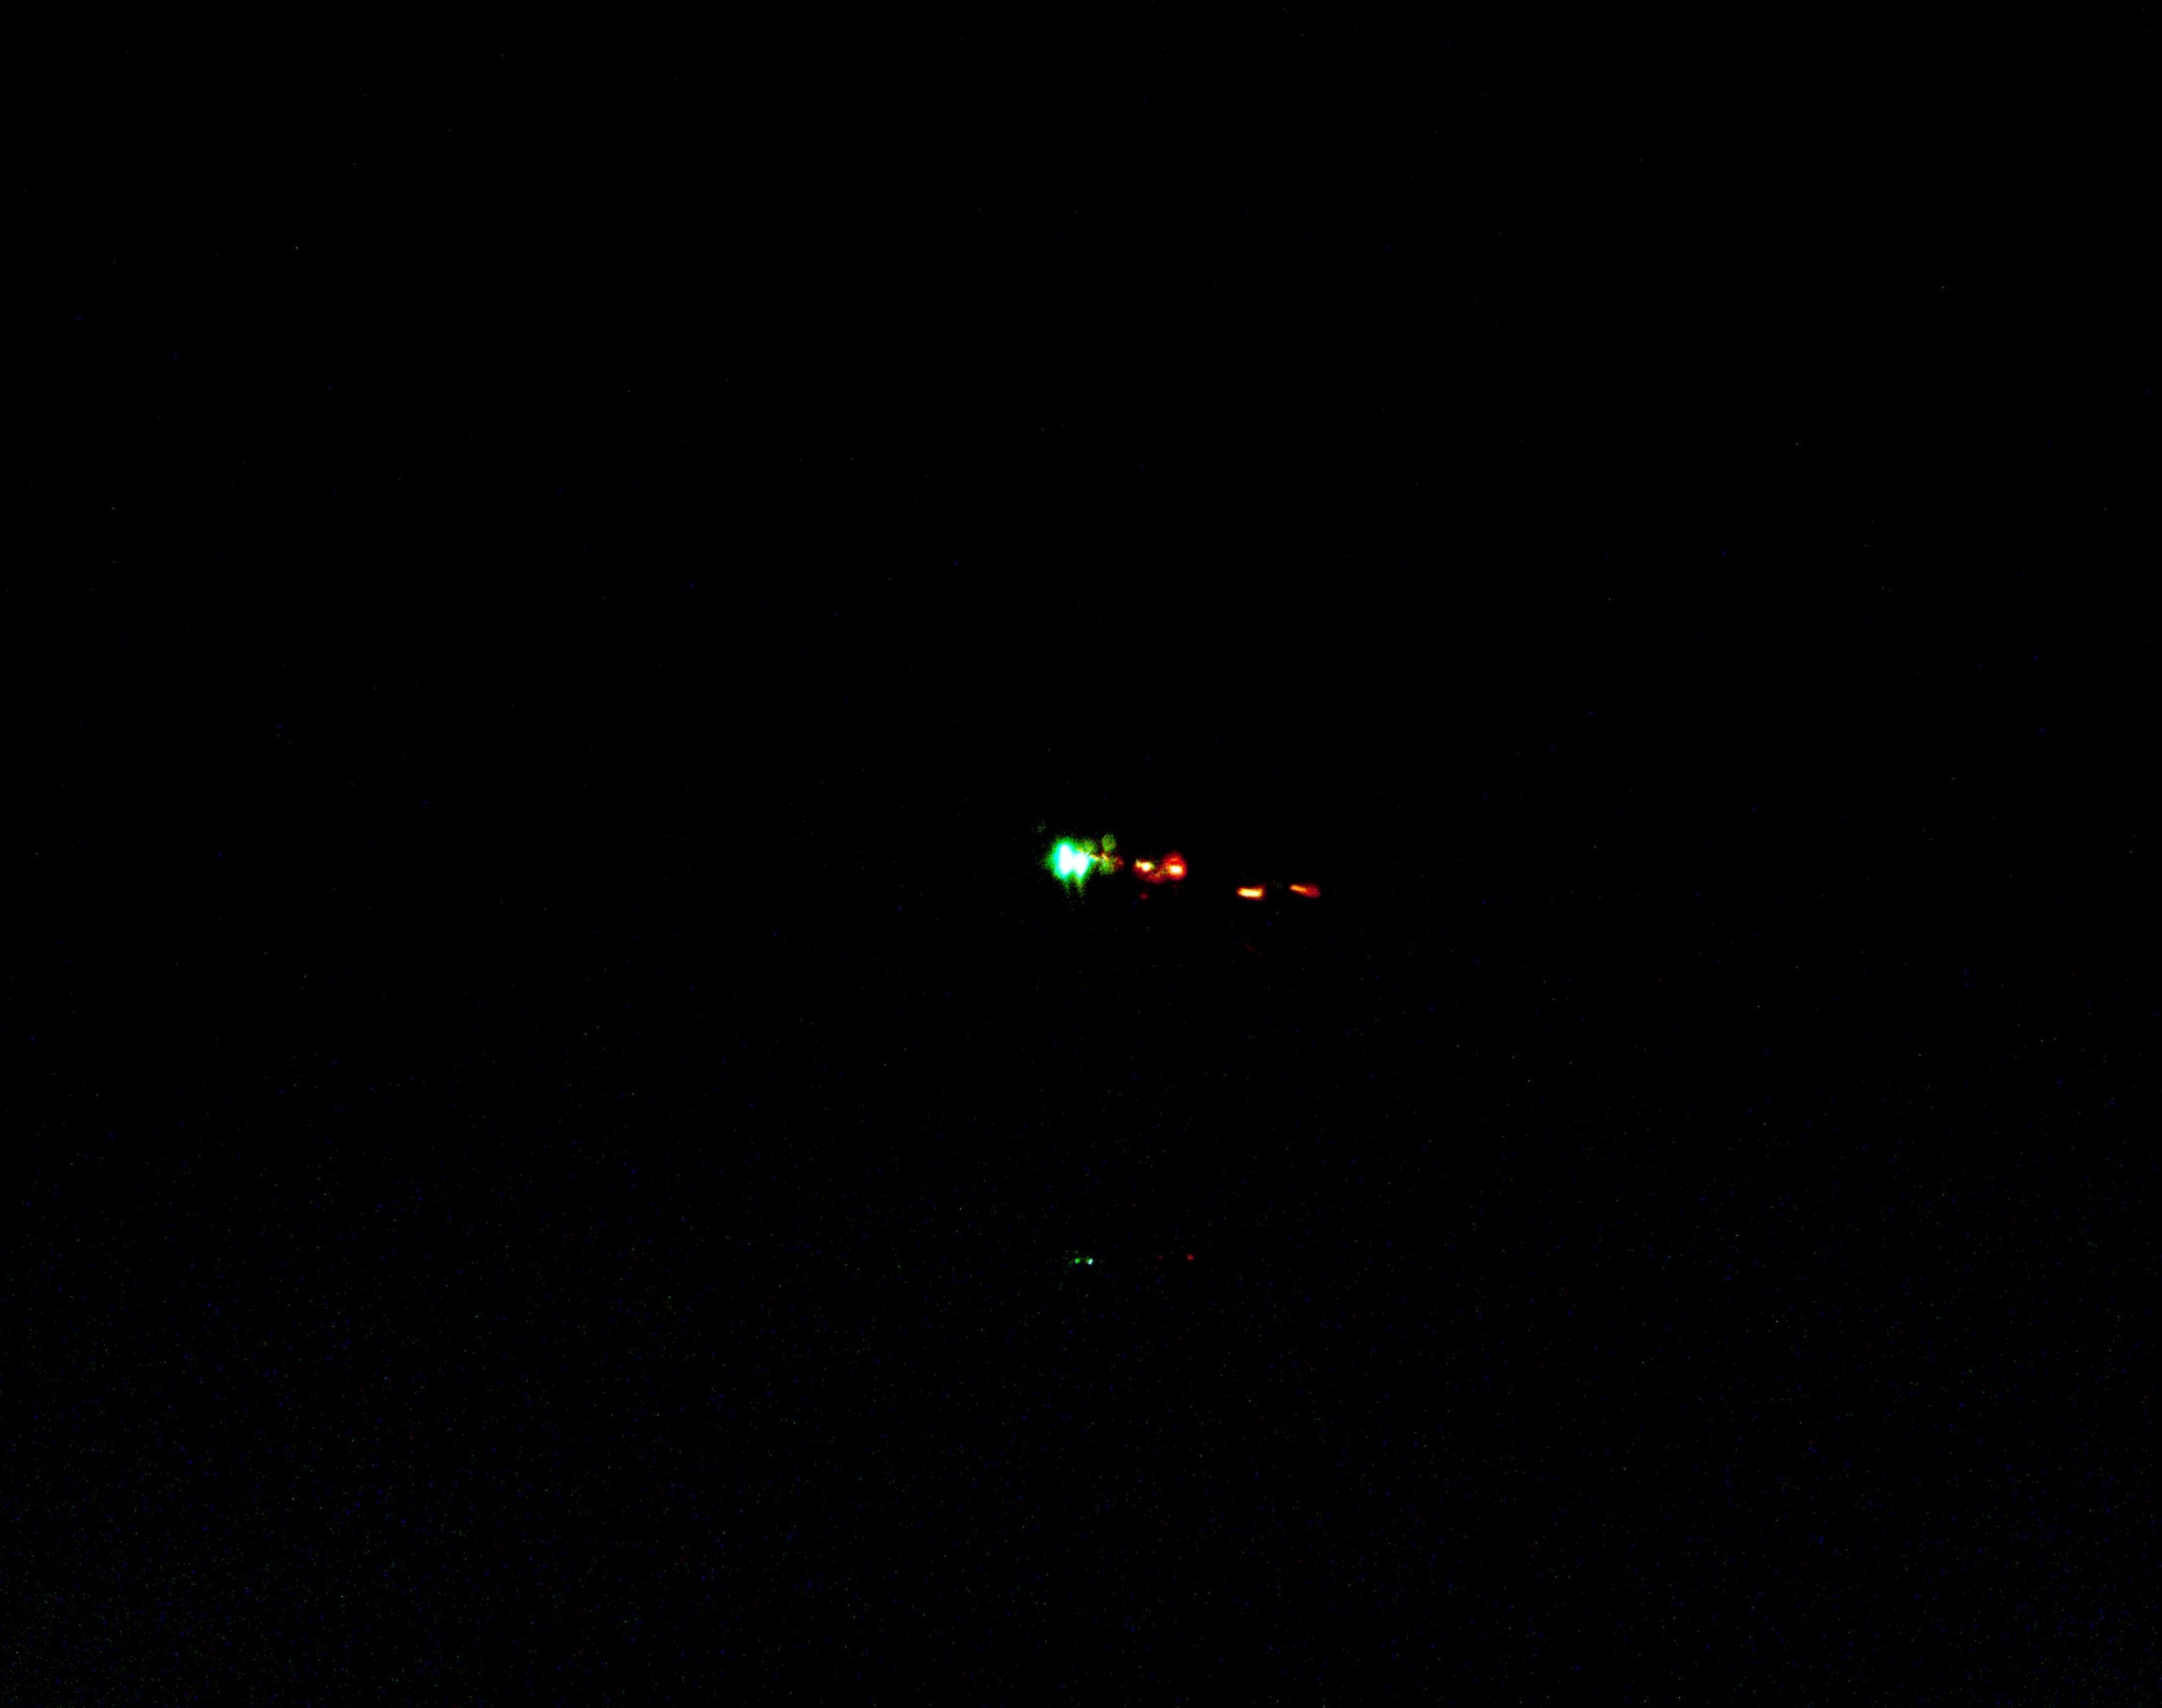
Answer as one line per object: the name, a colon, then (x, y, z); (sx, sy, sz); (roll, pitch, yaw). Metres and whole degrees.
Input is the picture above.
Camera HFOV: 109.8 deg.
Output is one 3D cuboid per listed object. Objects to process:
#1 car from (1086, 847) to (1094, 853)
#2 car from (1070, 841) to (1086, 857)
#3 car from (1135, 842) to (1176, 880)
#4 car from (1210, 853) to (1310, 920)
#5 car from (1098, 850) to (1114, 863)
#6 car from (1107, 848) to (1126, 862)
car: (2.377, -1.096, 198.887); (1.999, 1.540, 3.999); (-2, 1, -1)
car: (-0.393, -0.661, 98.909); (1.999, 2.002, 3.999); (0, 1, -1)
car: (3.882, 0.324, 40.136); (1.808, 1.917, 3.999); (0, 1, 1)
car: (4.251, 0.712, 18.511); (1.600, 1.394, 3.469); (0, 1, 0)
car: (3.312, 0.365, 102.914); (1.999, 1.652, 3.999); (0, 1, -1)
car: (3.838, 0.094, 82.197); (1.824, 1.433, 3.999); (0, 1, -1)
